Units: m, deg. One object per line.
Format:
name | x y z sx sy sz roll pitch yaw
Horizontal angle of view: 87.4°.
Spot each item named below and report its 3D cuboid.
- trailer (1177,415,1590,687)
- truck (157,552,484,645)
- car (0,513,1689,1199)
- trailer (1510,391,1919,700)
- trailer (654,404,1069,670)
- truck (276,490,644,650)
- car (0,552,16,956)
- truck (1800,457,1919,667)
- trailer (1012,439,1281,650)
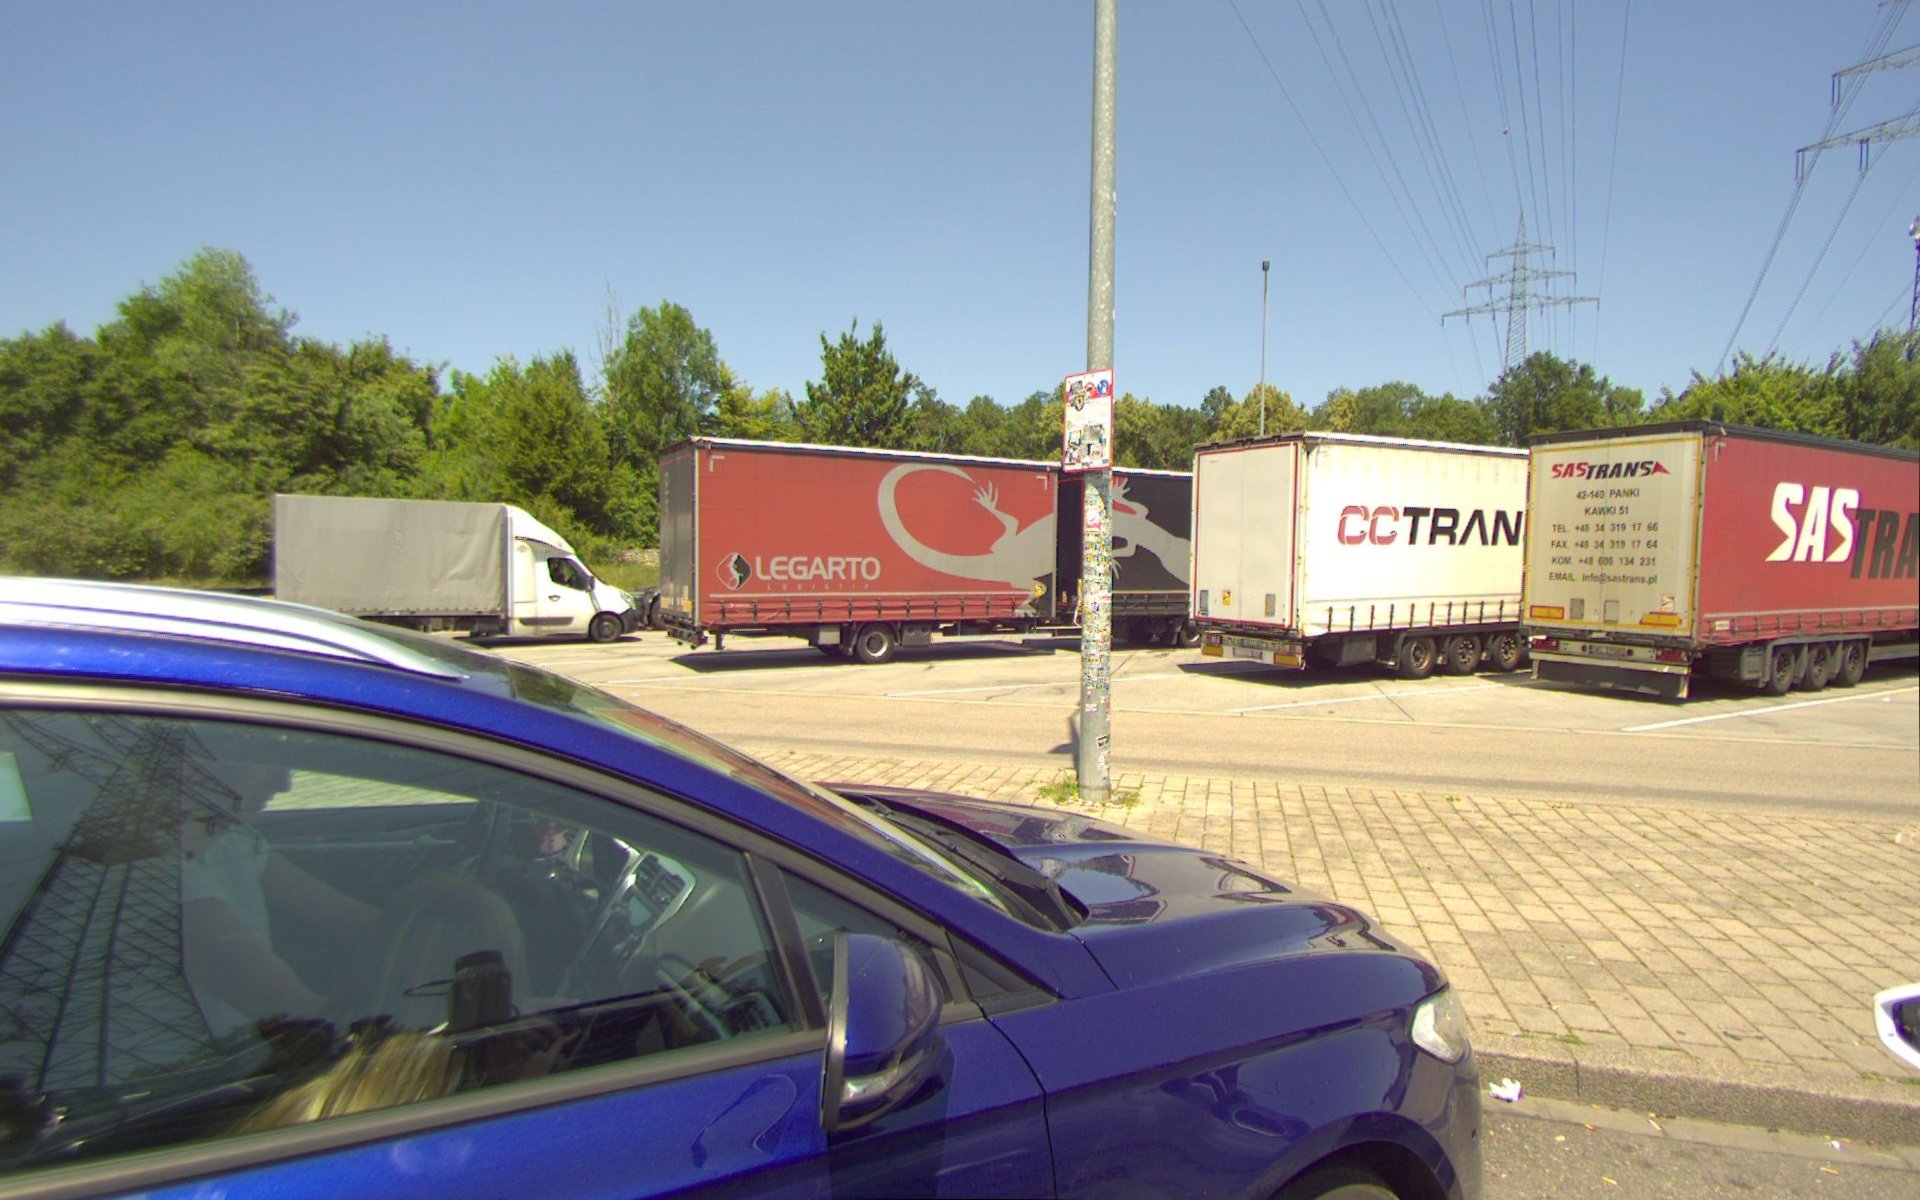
trailer | 8.111 -0.755 18.826 8.189 4.208 2.741 0 1 -30
truck | -15.390 -0.026 24.682 6.538 2.040 1.984 0 0 -30
car | -0.978 0.656 1.486 4.362 1.437 1.731 1 0 -30
trailer | 15.264 -0.726 18.427 13.046 4.276 2.786 0 0 -31
trailer | -1.800 -1.047 20.230 7.963 4.510 2.648 0 0 -31
truck | -11.081 -0.581 22.794 7.171 3.194 2.160 0 1 -30
car | -4.338 0.513 2.188 3.077 1.378 1.334 1 0 -30
truck | 21.447 -0.745 22.062 5.824 4.189 2.792 0 0 -30
trailer | 4.525 -1.171 24.074 6.076 4.504 2.665 0 0 -30
